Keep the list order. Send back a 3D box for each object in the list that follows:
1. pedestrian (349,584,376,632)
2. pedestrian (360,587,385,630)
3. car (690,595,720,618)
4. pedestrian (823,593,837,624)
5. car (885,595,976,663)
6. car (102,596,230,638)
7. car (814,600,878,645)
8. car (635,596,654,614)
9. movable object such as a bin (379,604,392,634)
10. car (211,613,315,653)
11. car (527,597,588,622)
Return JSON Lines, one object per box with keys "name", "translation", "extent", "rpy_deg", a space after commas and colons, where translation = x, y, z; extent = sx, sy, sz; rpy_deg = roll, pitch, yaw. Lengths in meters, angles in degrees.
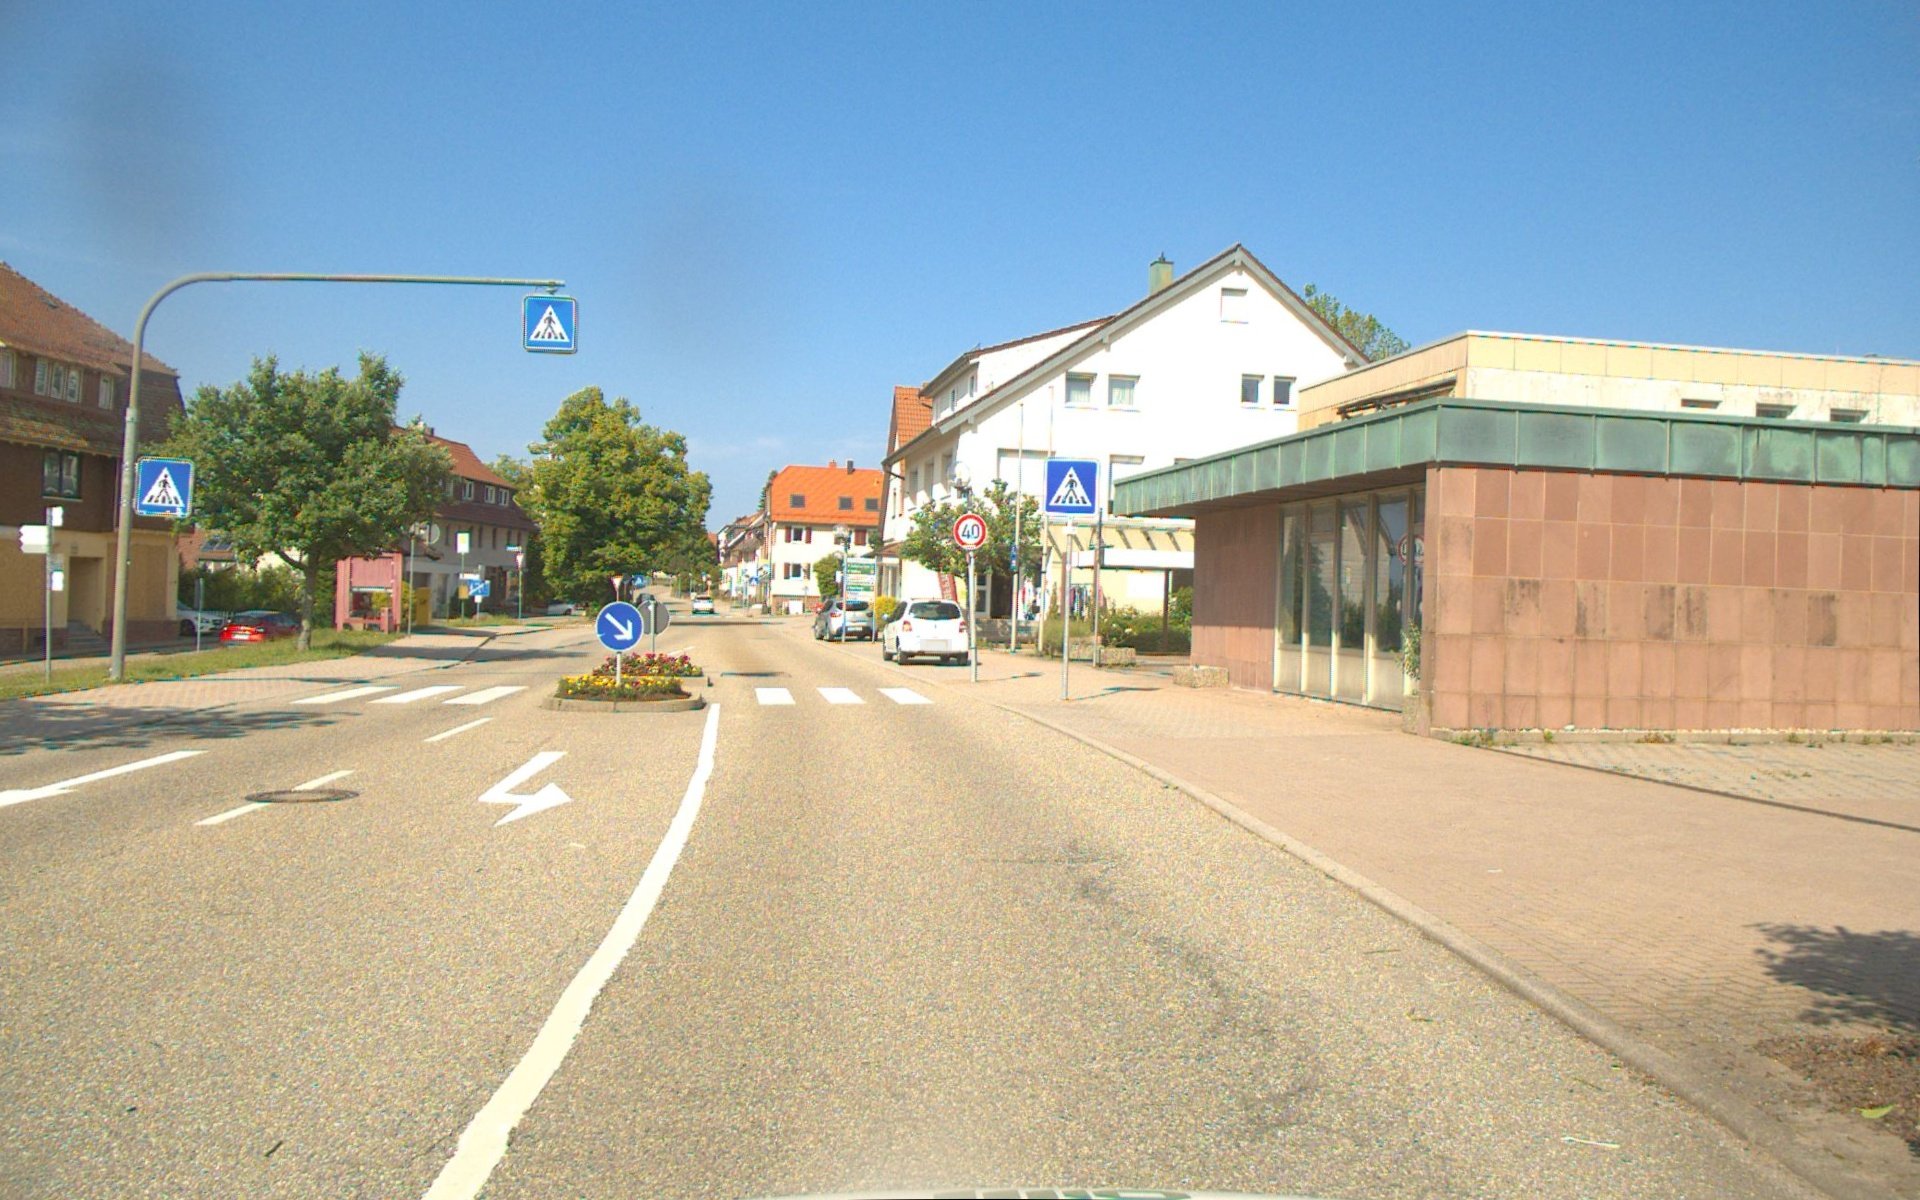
{"name": "pedestrian", "translation": [-17.711, 0.224, 49.041], "extent": [0.606, 1.388, 0.672], "rpy_deg": [-1, 1, -11]}
{"name": "pedestrian", "translation": [-17.637, 0.244, 49.662], "extent": [0.618, 1.275, 0.422], "rpy_deg": [-1, 0, -12]}
{"name": "car", "translation": [-24.200, 0.604, 156.626], "extent": [2.453, 2.049, 4.289], "rpy_deg": [-1, 0, -13]}
{"name": "pedestrian", "translation": [-7.477, 0.491, 95.344], "extent": [0.784, 1.815, 0.978], "rpy_deg": [0, 0, -5]}
{"name": "car", "translation": [-0.734, 0.632, 38.228], "extent": [1.727, 1.448, 3.628], "rpy_deg": [-1, 0, -7]}
{"name": "car", "translation": [-31.842, 0.698, 66.390], "extent": [4.213, 1.538, 1.800], "rpy_deg": [2, -2, 0]}
{"name": "car", "translation": [-3.909, 0.735, 56.297], "extent": [1.607, 1.444, 3.922], "rpy_deg": [-1, 0, -13]}
{"name": "car", "translation": [-30.379, 0.447, 159.424], "extent": [1.642, 1.559, 3.527], "rpy_deg": [5, -1, -10]}
{"name": "movable object such as a bin", "translation": [-16.268, 0.543, 46.844], "extent": [0.299, 0.852, 0.484], "rpy_deg": [0, 0, -12]}
{"name": "car", "translation": [-24.549, 1.143, 58.421], "extent": [1.684, 1.320, 4.003], "rpy_deg": [-1, 0, 5]}
{"name": "car", "translation": [-27.571, 0.689, 113.354], "extent": [3.681, 1.480, 1.818], "rpy_deg": [-1, -5, 2]}
